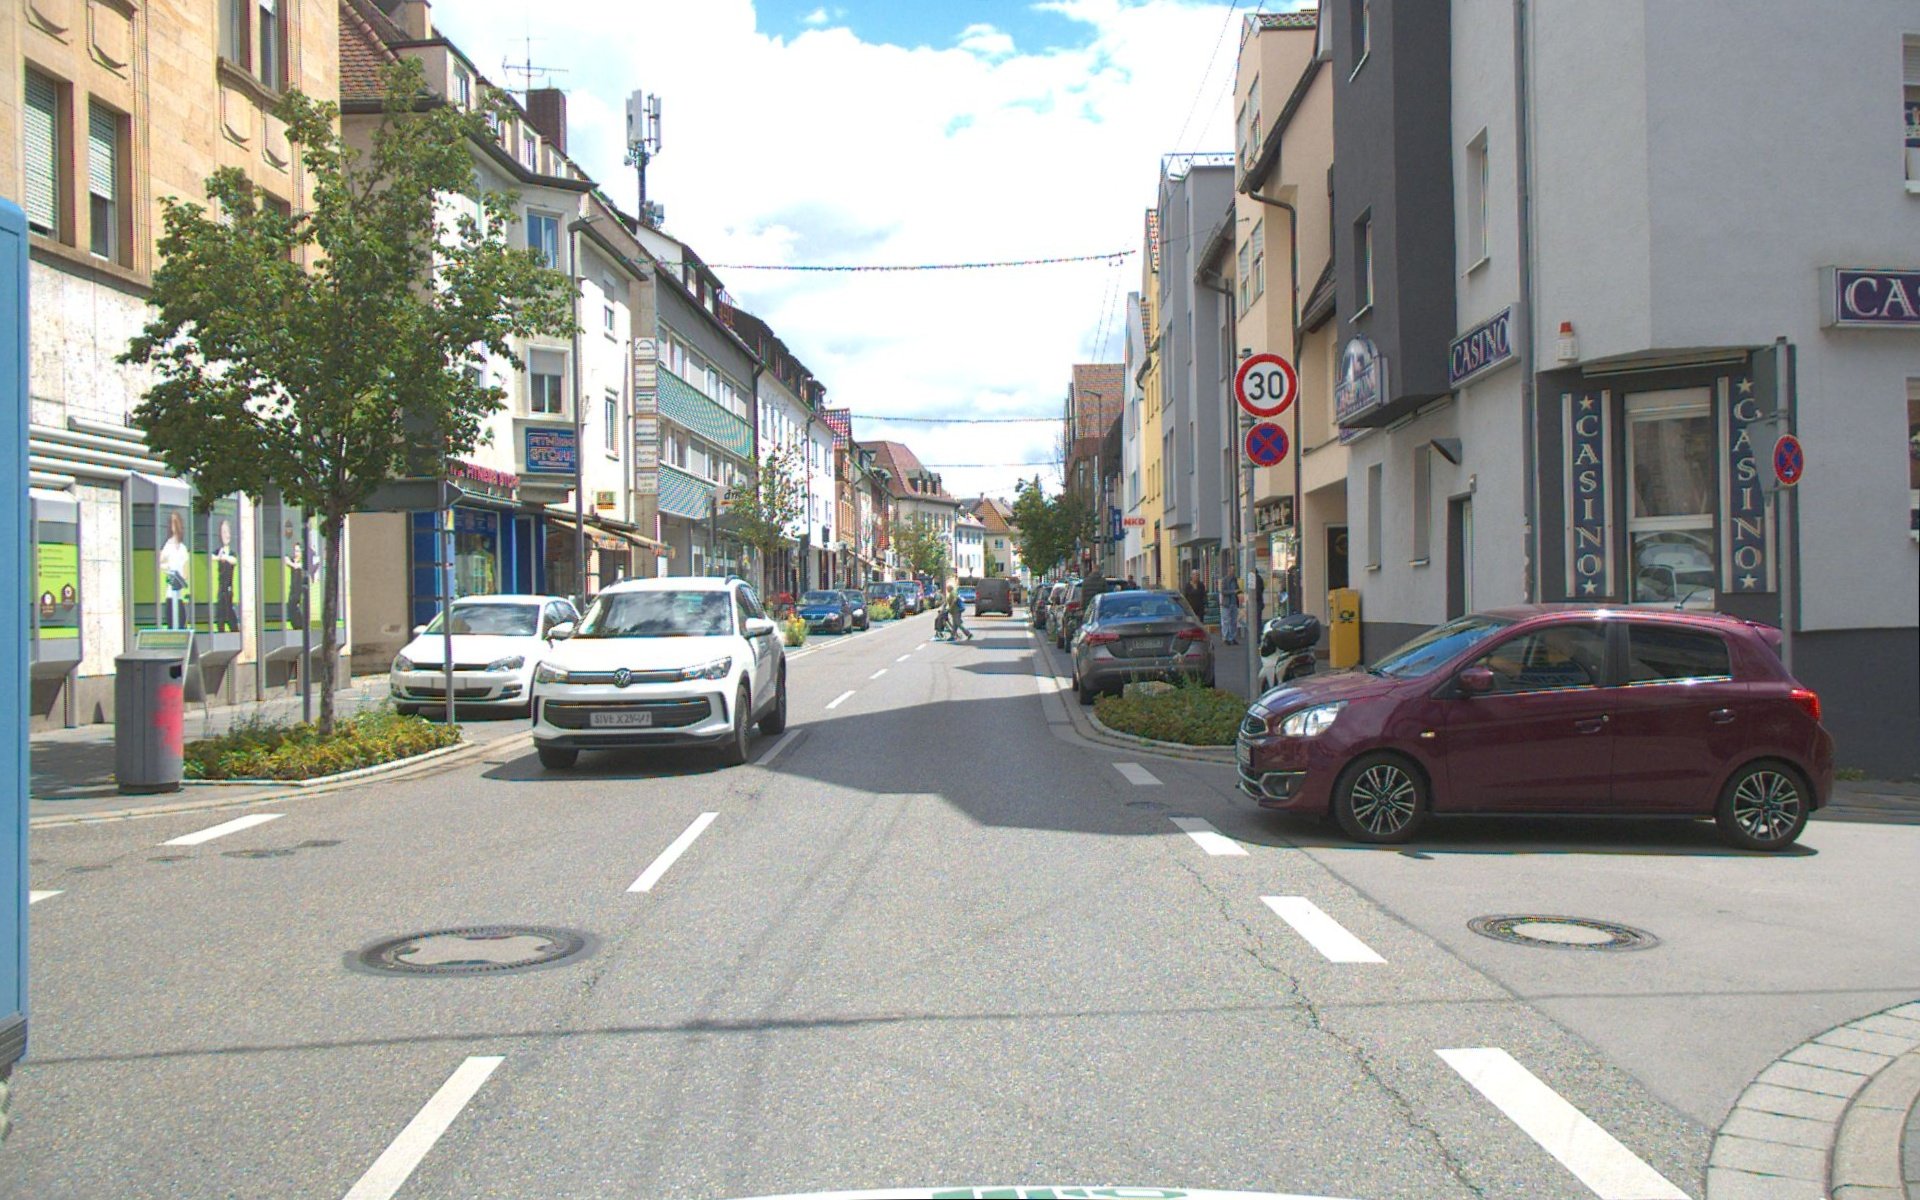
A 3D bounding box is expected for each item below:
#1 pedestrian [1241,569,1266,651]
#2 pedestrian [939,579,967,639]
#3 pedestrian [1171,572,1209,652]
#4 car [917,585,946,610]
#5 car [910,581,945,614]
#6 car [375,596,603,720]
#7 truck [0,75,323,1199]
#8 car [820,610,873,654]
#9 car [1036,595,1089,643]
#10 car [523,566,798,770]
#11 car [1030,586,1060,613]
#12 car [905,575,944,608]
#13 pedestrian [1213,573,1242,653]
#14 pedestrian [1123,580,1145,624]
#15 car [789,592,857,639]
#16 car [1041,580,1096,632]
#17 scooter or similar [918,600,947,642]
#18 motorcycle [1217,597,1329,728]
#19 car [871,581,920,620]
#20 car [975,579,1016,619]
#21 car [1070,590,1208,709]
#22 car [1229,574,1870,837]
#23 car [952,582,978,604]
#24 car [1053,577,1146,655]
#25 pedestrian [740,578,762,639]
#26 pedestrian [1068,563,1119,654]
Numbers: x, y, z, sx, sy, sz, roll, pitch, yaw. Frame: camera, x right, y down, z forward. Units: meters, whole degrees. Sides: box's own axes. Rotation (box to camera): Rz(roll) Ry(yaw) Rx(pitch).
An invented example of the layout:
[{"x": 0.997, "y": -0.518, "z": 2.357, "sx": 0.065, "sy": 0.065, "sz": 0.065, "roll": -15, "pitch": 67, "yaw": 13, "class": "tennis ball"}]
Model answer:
[{"x": 6.366, "y": 0.221, "z": 35.853, "sx": 0.427, "sy": 1.748, "sz": 0.537, "roll": 1, "pitch": -1, "yaw": -1, "class": "pedestrian"}, {"x": -0.193, "y": 0.252, "z": 45.447, "sx": 0.716, "sy": 1.646, "sz": 0.651, "roll": 1, "pitch": -1, "yaw": -3, "class": "pedestrian"}, {"x": 5.074, "y": 0.265, "z": 36.482, "sx": 0.728, "sy": 1.748, "sz": 0.656, "roll": -1, "pitch": -1, "yaw": 0, "class": "pedestrian"}, {"x": -1.905, "y": -0.181, "z": 112.065, "sx": 1.762, "sy": 1.626, "sz": 4.390, "roll": 0, "pitch": 0, "yaw": 2, "class": "car"}, {"x": -1.946, "y": -0.140, "z": 99.434, "sx": 1.778, "sy": 1.922, "sz": 4.842, "roll": 1, "pitch": 0, "yaw": 3, "class": "car"}, {"x": -5.923, "y": 0.694, "z": 21.278, "sx": 1.808, "sy": 1.422, "sz": 4.036, "roll": 1, "pitch": 0, "yaw": -1, "class": "car"}, {"x": -2.695, "y": 0.229, "z": 1.157, "sx": 2.063, "sy": 2.346, "sz": 6.474, "roll": 1, "pitch": 0, "yaw": -1, "class": "truck"}, {"x": -4.182, "y": 1.165, "z": 61.286, "sx": 1.754, "sy": 1.529, "sz": 4.177, "roll": 1, "pitch": 0, "yaw": -1, "class": "car"}, {"x": 3.566, "y": 0.642, "z": 58.165, "sx": 1.654, "sy": 1.497, "sz": 4.525, "roll": 1, "pitch": 2, "yaw": 1, "class": "car"}, {"x": -2.685, "y": 0.576, "z": 15.767, "sx": 1.750, "sy": 1.669, "sz": 4.116, "roll": 1, "pitch": 0, "yaw": 1, "class": "car"}, {"x": 5.057, "y": -0.010, "z": 98.188, "sx": 1.685, "sy": 1.520, "sz": 4.110, "roll": 1, "pitch": 0, "yaw": 3, "class": "car"}, {"x": -1.955, "y": -0.448, "z": 91.968, "sx": 1.778, "sy": 1.786, "sz": 4.466, "roll": 1, "pitch": 0, "yaw": 3, "class": "car"}, {"x": 5.878, "y": 0.280, "z": 36.340, "sx": 0.524, "sy": 1.748, "sz": 0.606, "roll": 1, "pitch": -1, "yaw": 0, "class": "pedestrian"}, {"x": 6.387, "y": 0.072, "z": 60.764, "sx": 0.734, "sy": 1.580, "sz": 0.726, "roll": -1, "pitch": -1, "yaw": 1, "class": "pedestrian"}, {"x": -4.579, "y": 0.494, "z": 55.792, "sx": 1.753, "sy": 1.539, "sz": 4.714, "roll": 0, "pitch": 0, "yaw": 2, "class": "car"}, {"x": 3.485, "y": 0.198, "z": 53.654, "sx": 1.654, "sy": 1.601, "sz": 3.757, "roll": 1, "pitch": 0, "yaw": 2, "class": "car"}, {"x": -0.762, "y": 0.570, "z": 45.403, "sx": 0.766, "sy": 1.145, "sz": 0.630, "roll": 1, "pitch": -1, "yaw": -3, "class": "scooter or similar"}, {"x": 3.278, "y": 0.627, "z": 17.529, "sx": 0.645, "sy": 1.281, "sz": 2.375, "roll": 1, "pitch": 0, "yaw": -2, "class": "motorcycle"}, {"x": -3.027, "y": 0.035, "z": 78.585, "sx": 1.778, "sy": 1.786, "sz": 4.671, "roll": 1, "pitch": 0, "yaw": 5, "class": "car"}, {"x": 1.788, "y": -0.033, "z": 82.962, "sx": 1.998, "sy": 1.881, "sz": 5.000, "roll": 1, "pitch": 0, "yaw": 1, "class": "car"}, {"x": 2.352, "y": 0.620, "z": 22.425, "sx": 1.671, "sy": 1.445, "sz": 4.320, "roll": 1, "pitch": 0, "yaw": 4, "class": "car"}, {"x": 3.725, "y": 0.646, "z": 10.877, "sx": 3.669, "sy": 1.557, "sz": 1.537, "roll": 1, "pitch": -1, "yaw": 1, "class": "car"}, {"x": 0.404, "y": -0.523, "z": 127.545, "sx": 1.865, "sy": 1.591, "sz": 4.647, "roll": 1, "pitch": 0, "yaw": 2, "class": "car"}, {"x": 3.160, "y": 0.332, "z": 38.161, "sx": 1.762, "sy": 1.631, "sz": 4.204, "roll": -2, "pitch": 0, "yaw": 1, "class": "car"}, {"x": -6.237, "y": 0.249, "z": 49.341, "sx": 0.537, "sy": 1.788, "sz": 0.728, "roll": 1, "pitch": -1, "yaw": -1, "class": "pedestrian"}, {"x": 2.868, "y": 0.180, "z": 35.672, "sx": 0.955, "sy": 1.896, "sz": 0.864, "roll": -3, "pitch": -1, "yaw": 0, "class": "pedestrian"}]
